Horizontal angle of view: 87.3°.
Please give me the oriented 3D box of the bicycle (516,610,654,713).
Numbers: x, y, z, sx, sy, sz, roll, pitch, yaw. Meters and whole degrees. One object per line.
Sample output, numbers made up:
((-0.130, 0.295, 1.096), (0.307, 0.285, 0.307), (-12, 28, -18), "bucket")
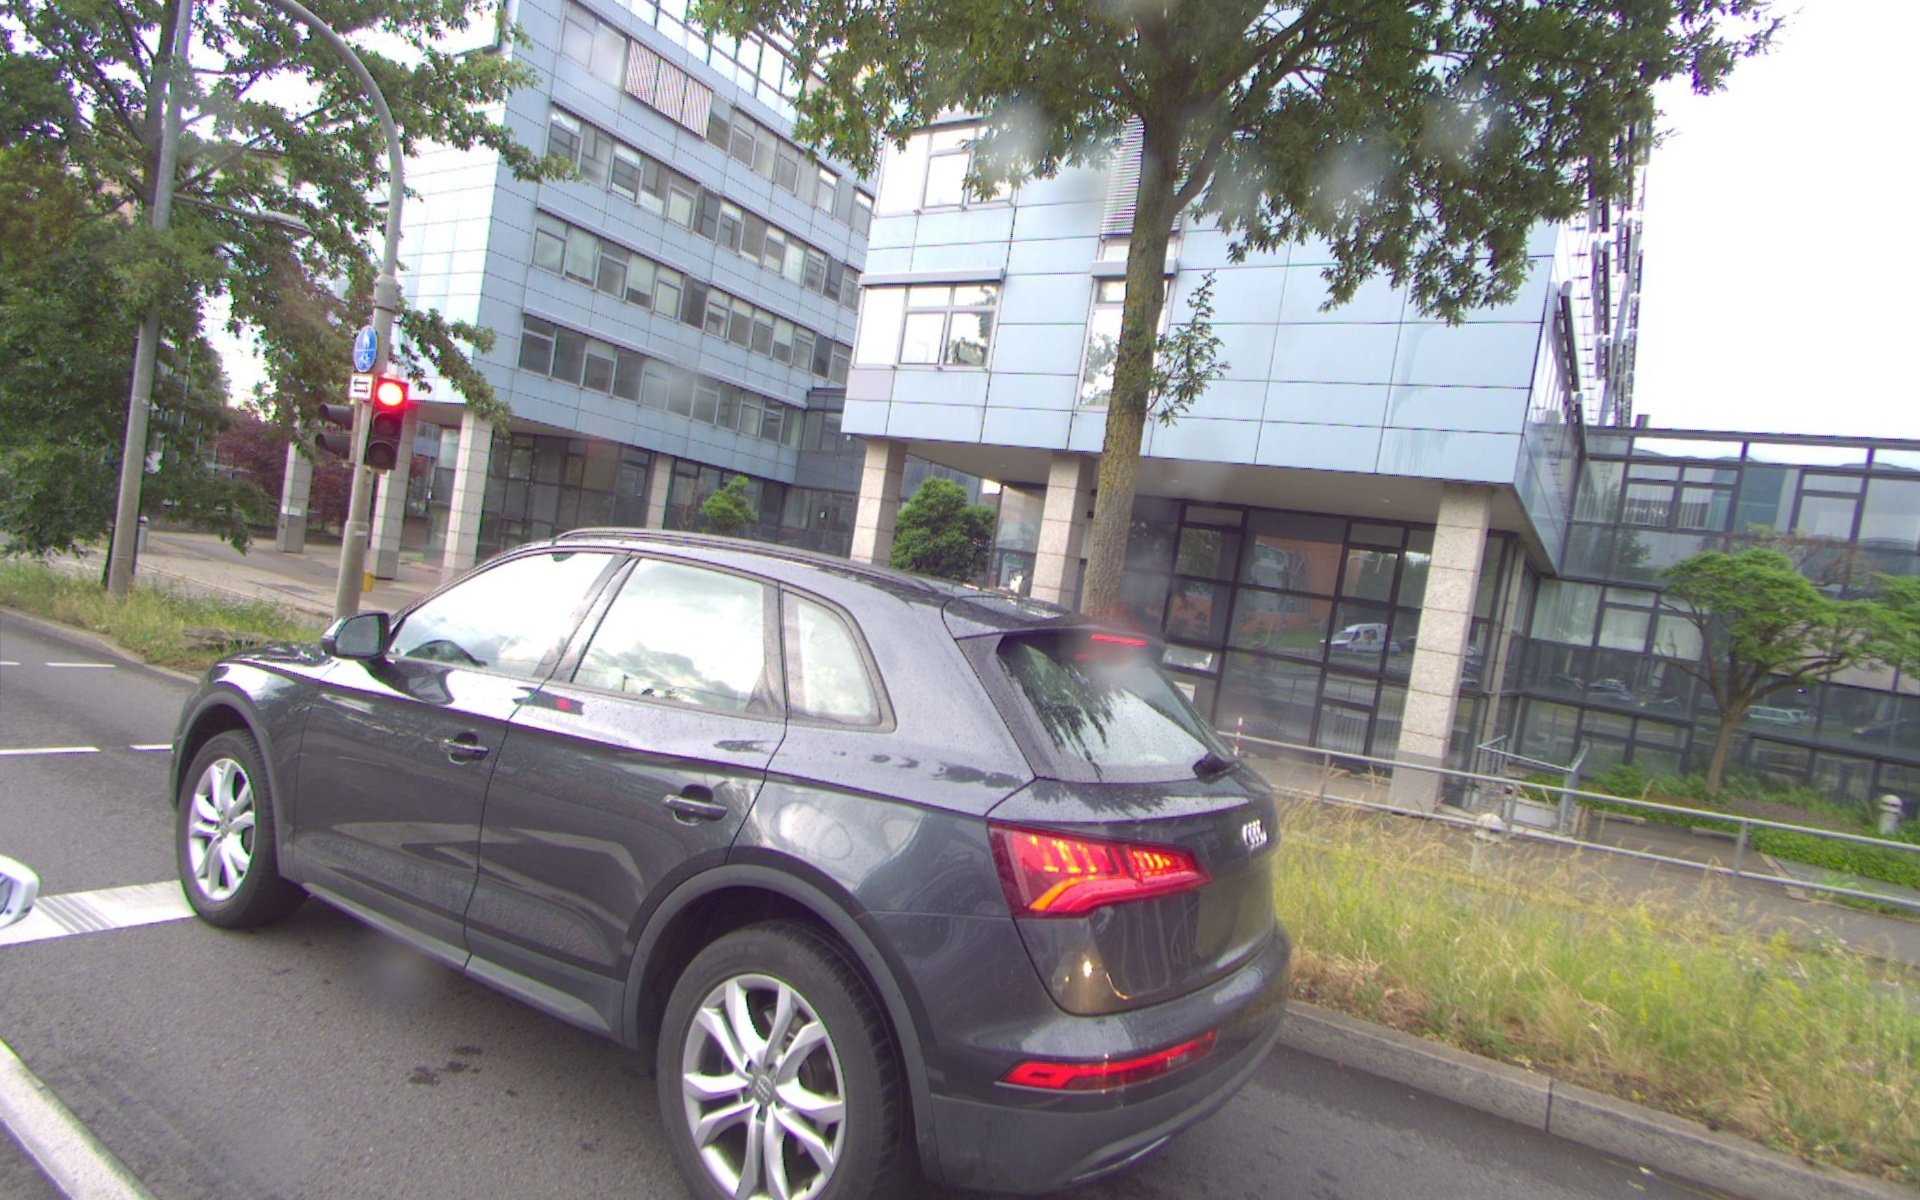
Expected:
((-5.048, 0.817, 13.494), (1.874, 1.101, 0.581), (7, -1, 32), "bicycle")

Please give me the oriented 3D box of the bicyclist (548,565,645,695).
((-4.850, 0.403, 13.431), (0.840, 1.597, 0.647), (8, -1, 32), "bicyclist")

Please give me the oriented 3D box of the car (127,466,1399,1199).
((-0.963, 0.575, 3.710), (4.396, 1.632, 1.821), (7, -1, 32), "car")
